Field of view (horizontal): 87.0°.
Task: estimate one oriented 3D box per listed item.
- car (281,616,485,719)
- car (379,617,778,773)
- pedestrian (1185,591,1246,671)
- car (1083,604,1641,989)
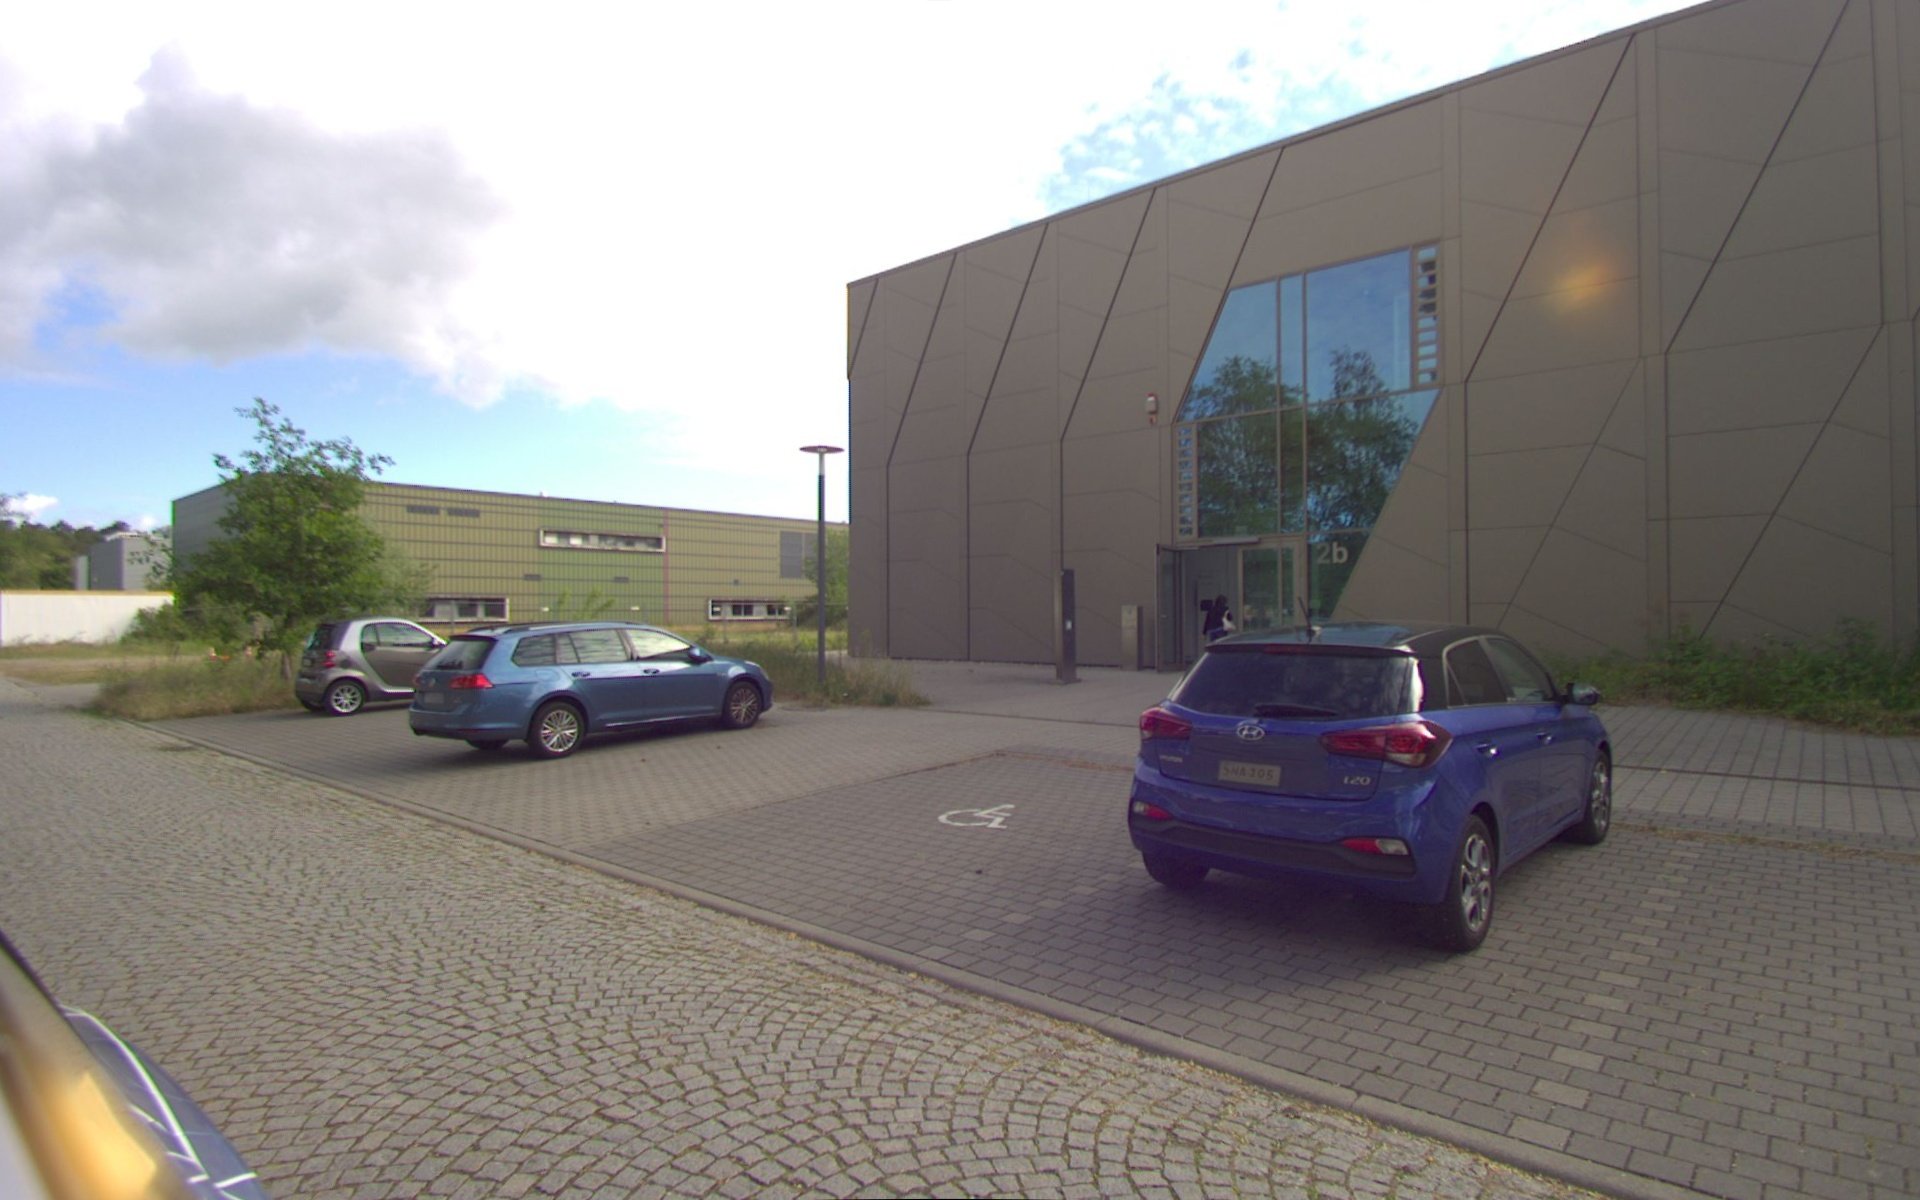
[{"bbox_3d":[-9.815,1.085,17.300,1.609,1.522,2.627,-2,0,40],"label":"car"},{"bbox_3d":[-4.439,0.996,12.364,1.771,1.439,4.265,-2,0,38],"label":"car"},{"bbox_3d":[4.990,0.598,19.720,0.817,1.506,0.974,-1,-2,39],"label":"pedestrian"},{"bbox_3d":[2.615,0.818,6.101,1.852,1.489,3.724,-2,0,44],"label":"car"}]
